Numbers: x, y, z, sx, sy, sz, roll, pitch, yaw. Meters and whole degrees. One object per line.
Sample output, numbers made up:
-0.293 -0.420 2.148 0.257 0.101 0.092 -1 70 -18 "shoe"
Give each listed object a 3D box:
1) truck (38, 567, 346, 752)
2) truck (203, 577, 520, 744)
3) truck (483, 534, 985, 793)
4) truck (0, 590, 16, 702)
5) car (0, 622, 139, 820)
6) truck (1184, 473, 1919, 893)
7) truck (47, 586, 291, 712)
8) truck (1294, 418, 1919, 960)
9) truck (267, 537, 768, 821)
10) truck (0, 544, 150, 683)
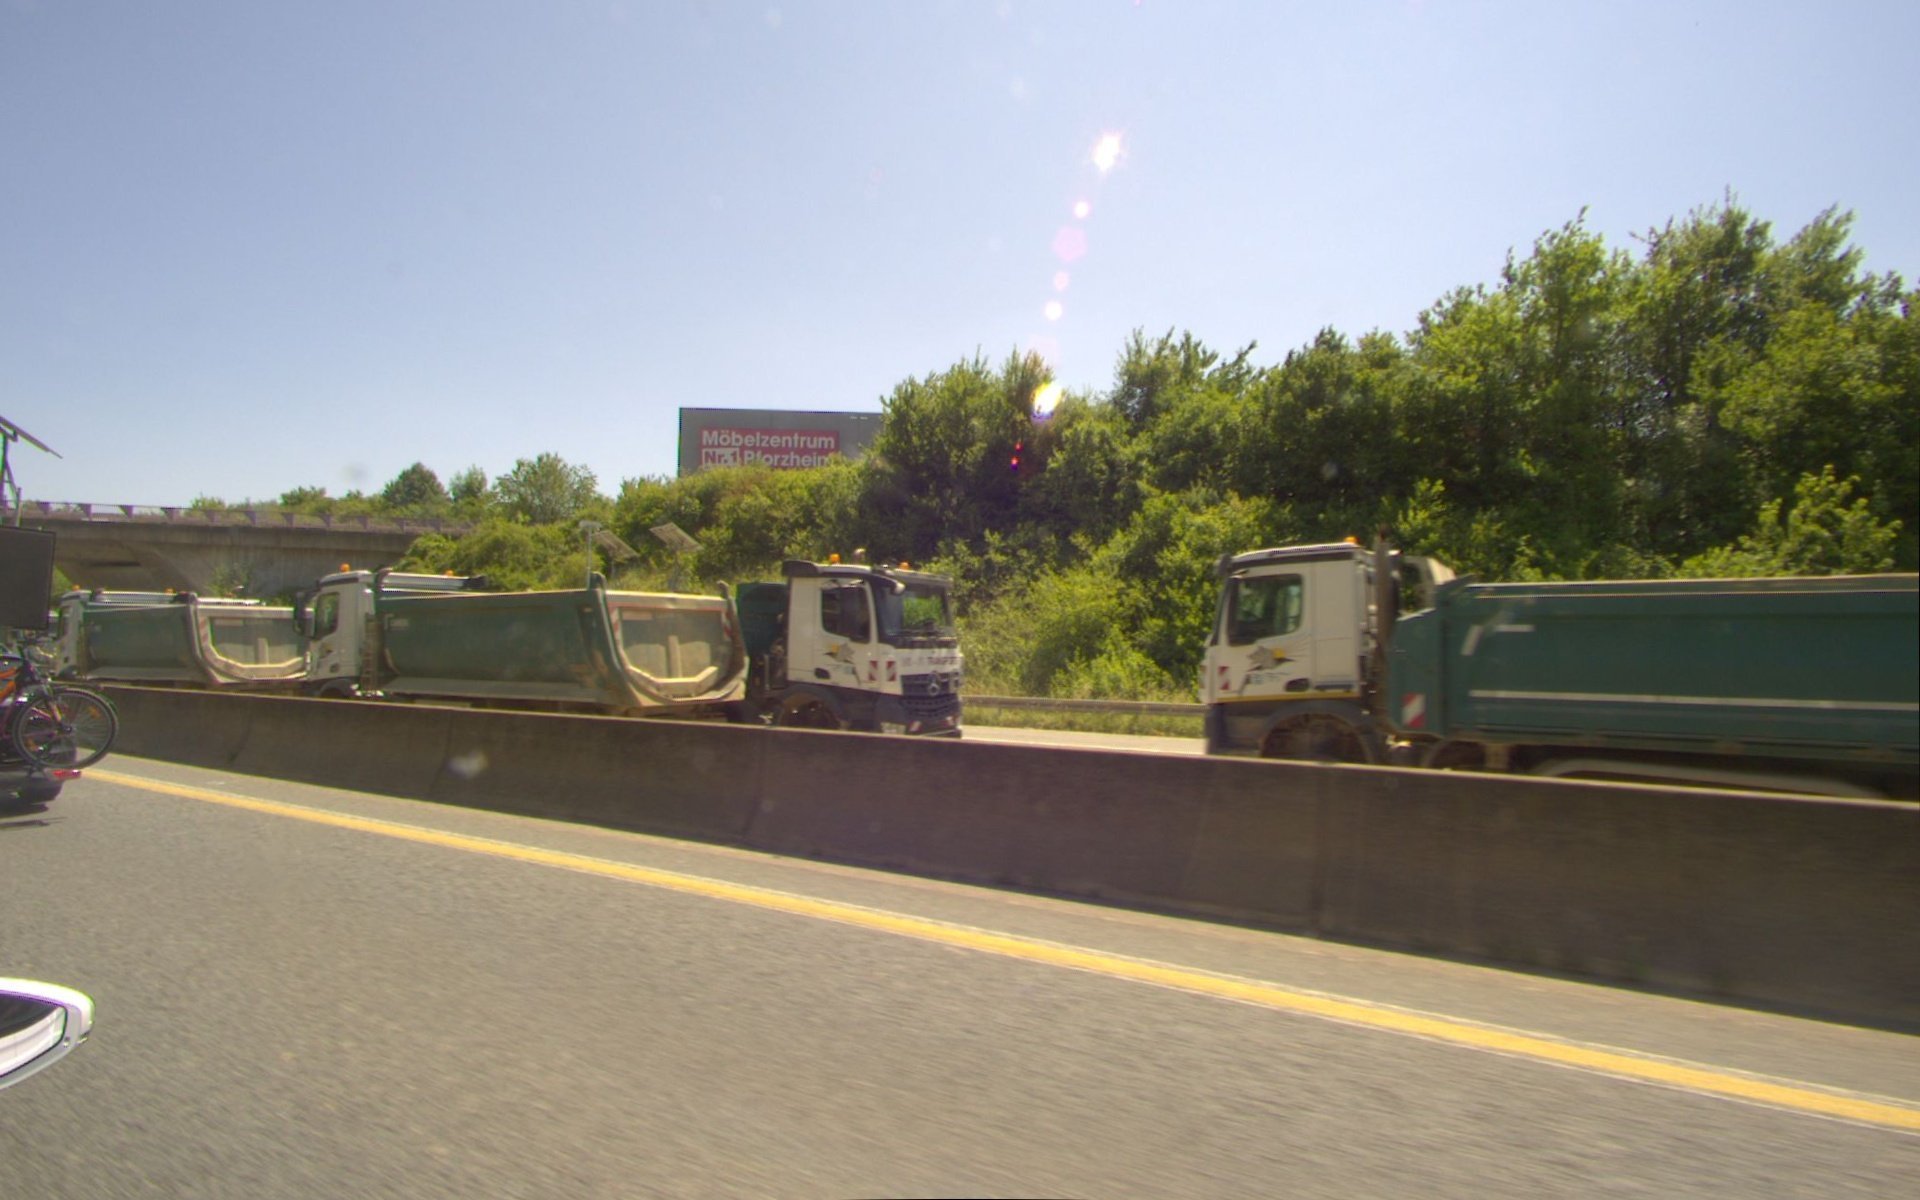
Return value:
-17.962 1.272 23.150 9.273 3.602 2.682 -1 -2 33 "truck"
-14.729 1.362 24.269 9.467 3.421 2.682 -1 -2 33 "truck"
-4.308 0.995 17.585 9.464 3.602 2.683 -1 -2 32 "truck"
-35.370 1.515 33.828 9.189 3.602 2.684 -1 -2 31 "truck"
-9.435 0.977 8.910 4.878 1.509 1.896 -2 -3 33 "car"
7.408 0.779 10.709 9.465 3.602 2.683 -1 -2 32 "truck"
-24.391 1.439 30.687 9.462 3.421 2.684 -1 -2 31 "truck"
7.611 0.617 7.390 9.464 3.602 2.535 -1 -2 32 "truck"
-7.596 1.118 16.420 9.465 3.602 2.683 -1 -2 32 "truck"
-27.410 0.463 29.378 9.189 3.602 2.684 -1 -2 31 "truck"
